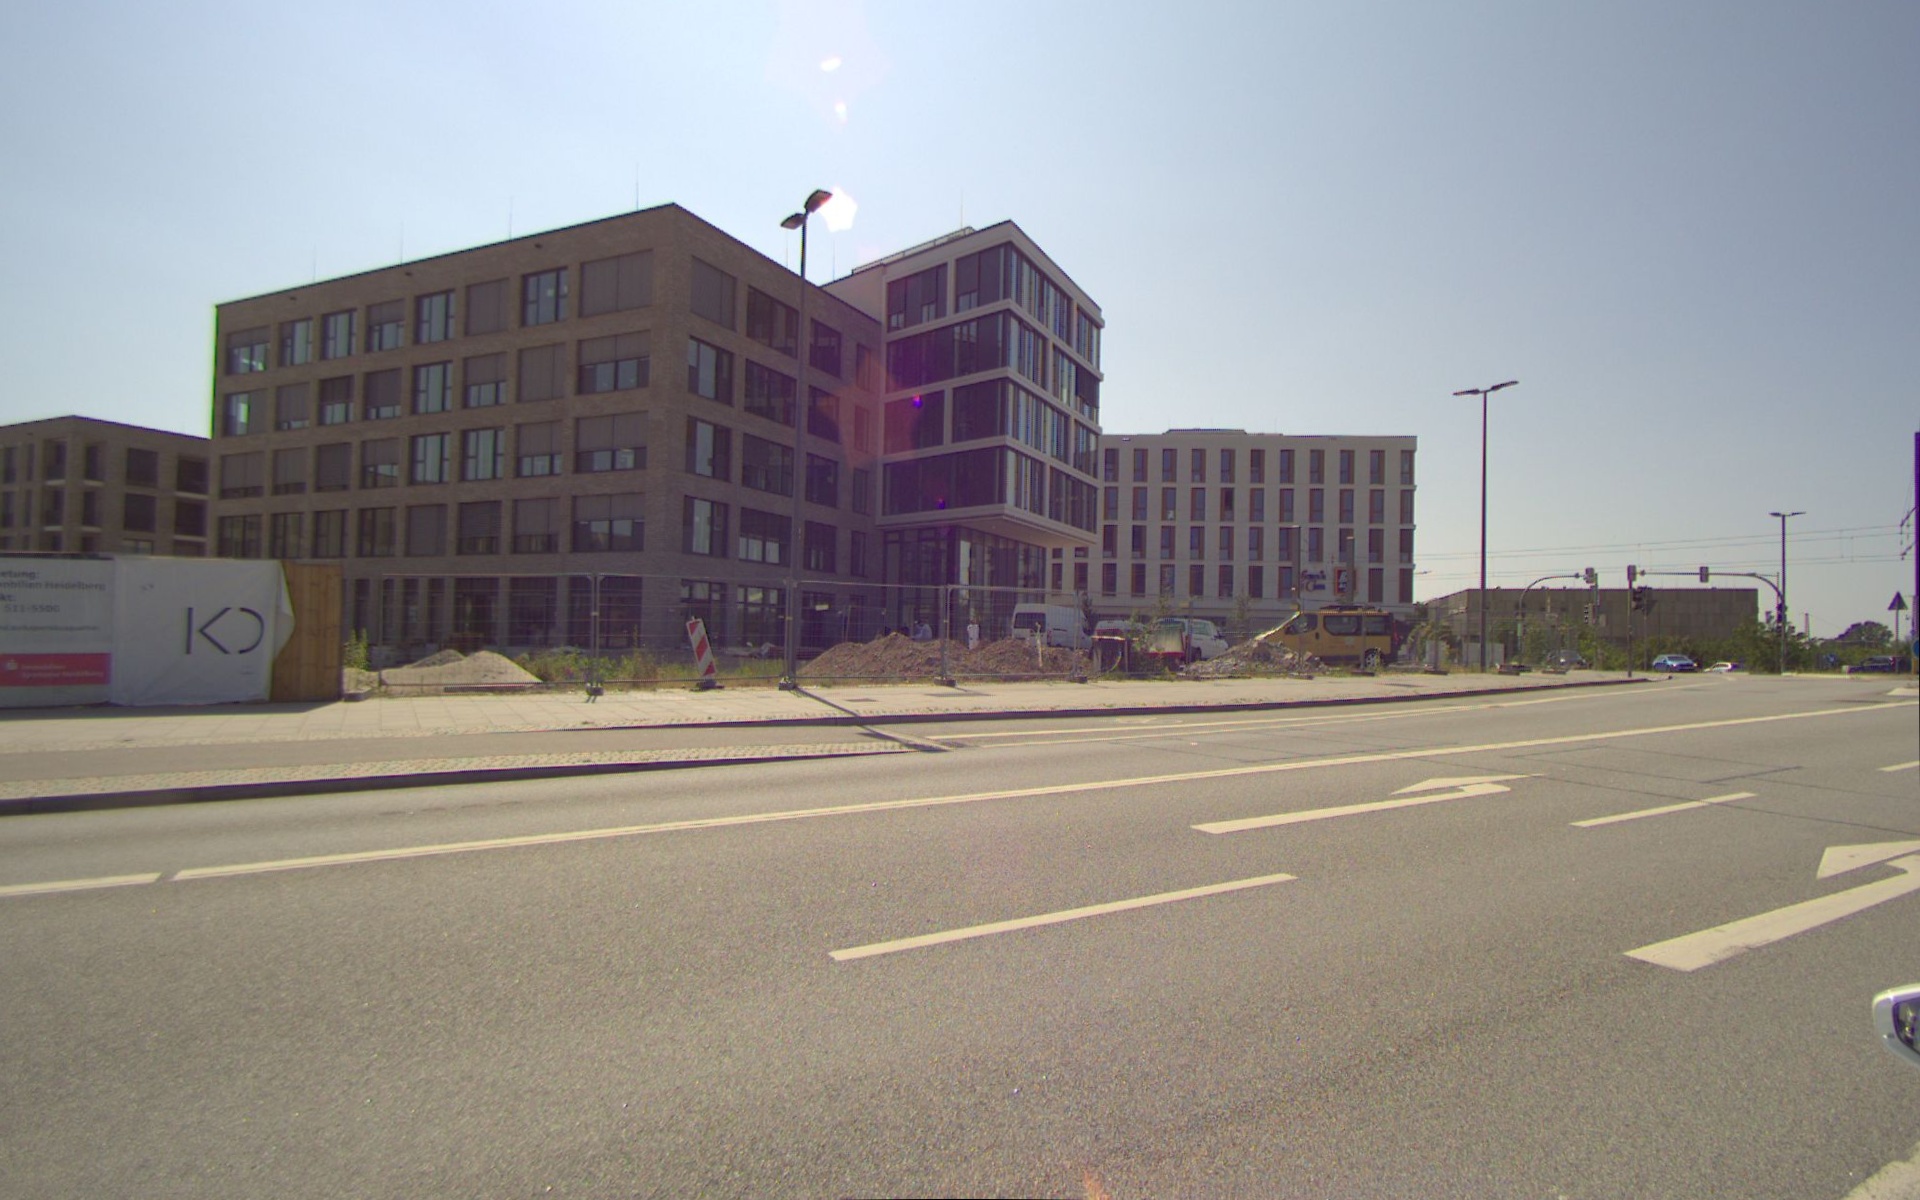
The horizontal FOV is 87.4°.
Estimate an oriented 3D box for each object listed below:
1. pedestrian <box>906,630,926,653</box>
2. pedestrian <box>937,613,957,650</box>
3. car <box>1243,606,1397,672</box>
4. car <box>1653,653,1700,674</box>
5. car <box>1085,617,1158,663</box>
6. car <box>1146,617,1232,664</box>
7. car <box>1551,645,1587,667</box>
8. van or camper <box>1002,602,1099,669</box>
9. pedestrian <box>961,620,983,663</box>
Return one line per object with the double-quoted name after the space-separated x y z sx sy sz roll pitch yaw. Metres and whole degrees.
-2.057 1.945 47.426 0.734 1.041 0.699 2 0 16 "pedestrian"
-0.636 1.531 48.994 0.734 1.741 0.699 2 0 16 "pedestrian"
11.990 1.284 33.776 4.533 1.988 1.991 2 0 9 "car"
53.030 4.681 74.426 1.787 1.348 4.000 2 -2 20 "car"
7.066 1.702 43.709 1.760 1.881 3.841 2 0 32 "car"
9.672 1.677 42.175 1.841 1.797 4.637 2 0 36 "car"
44.407 4.079 73.293 1.646 1.496 3.405 0 -1 22 "car"
4.121 1.537 45.051 2.273 2.772 4.975 2 0 32 "van or camper"
0.497 1.735 42.395 0.734 1.741 0.699 2 0 16 "pedestrian"
